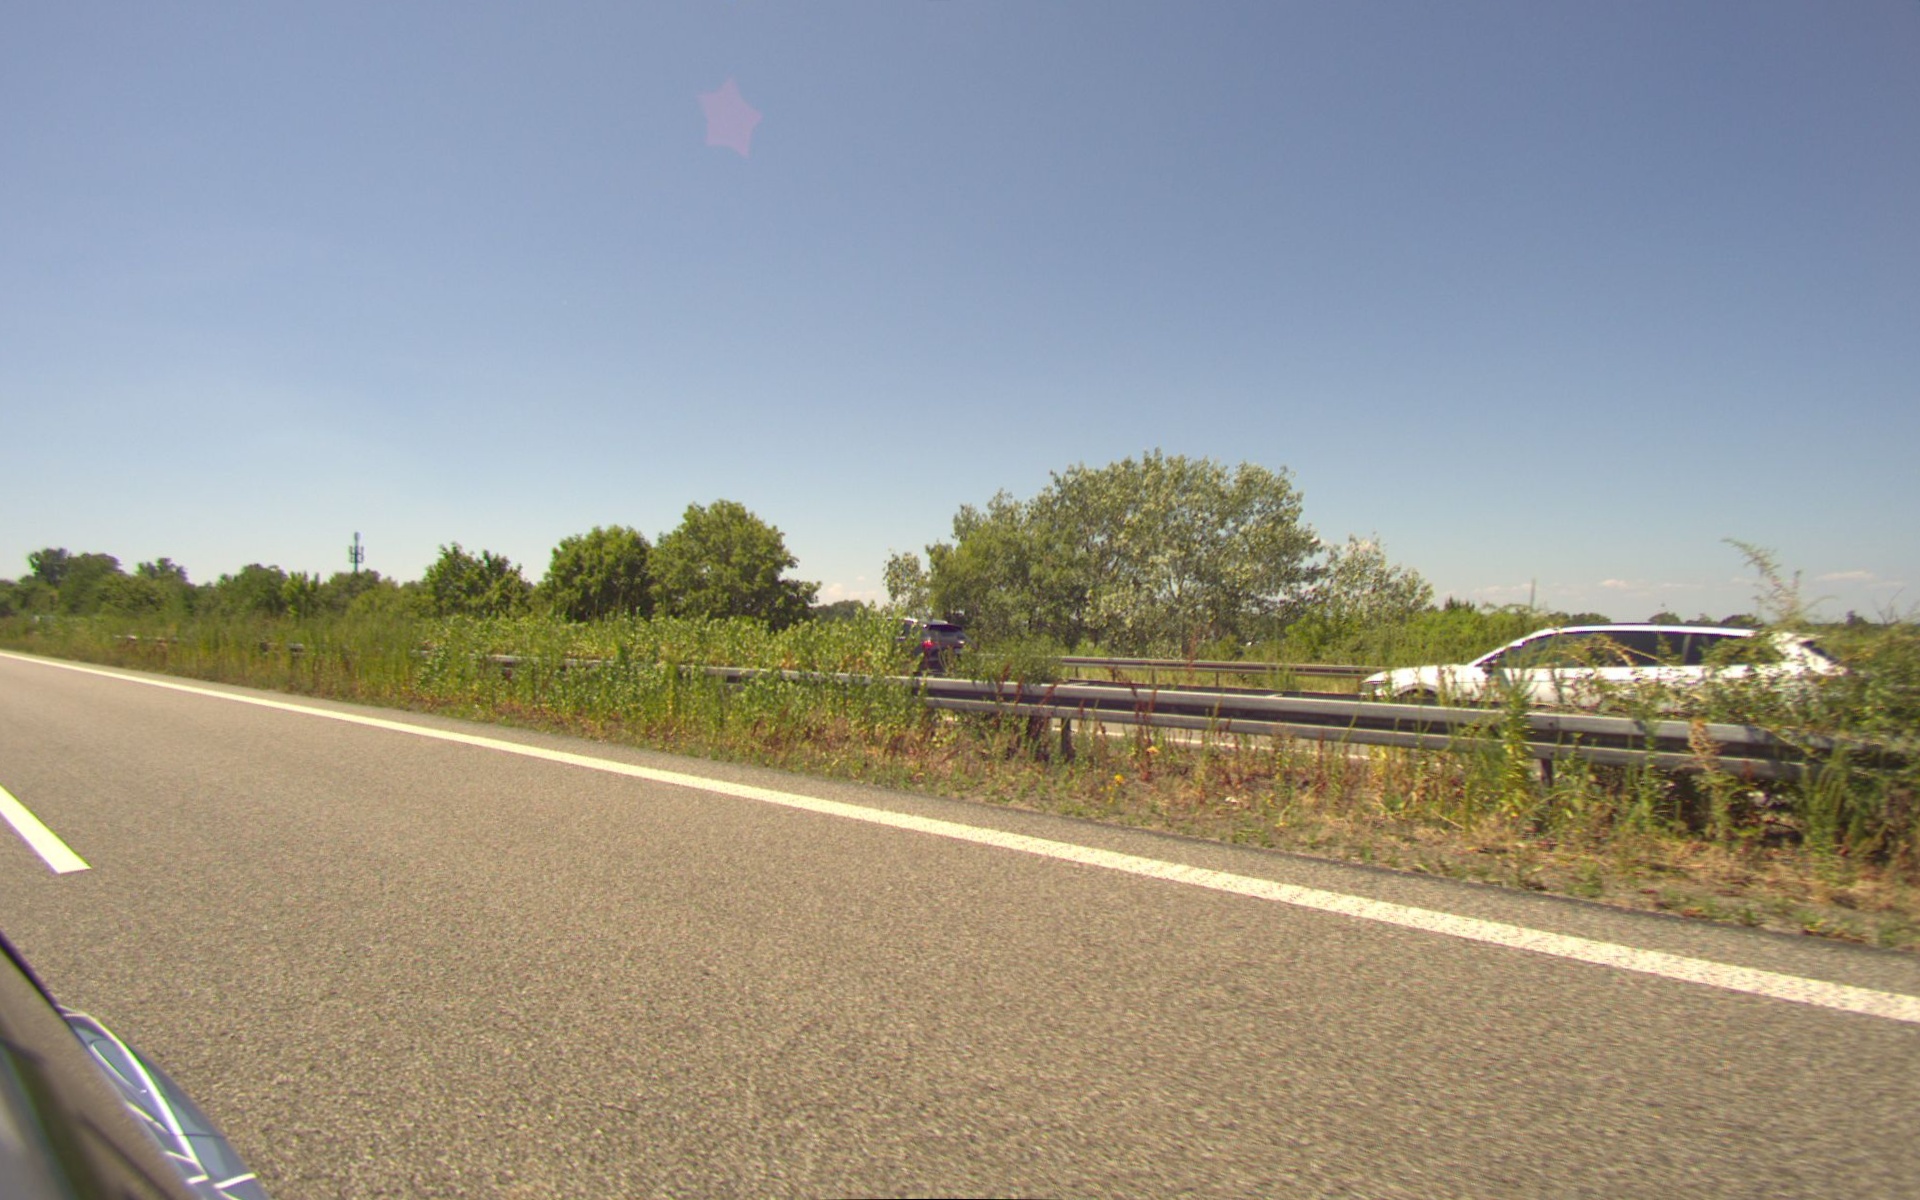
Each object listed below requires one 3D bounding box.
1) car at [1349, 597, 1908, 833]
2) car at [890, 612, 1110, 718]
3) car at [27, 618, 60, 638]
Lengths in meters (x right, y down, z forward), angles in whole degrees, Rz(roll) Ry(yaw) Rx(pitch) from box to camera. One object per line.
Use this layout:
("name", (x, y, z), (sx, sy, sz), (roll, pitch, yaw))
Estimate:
("car", (7.021, 1.033, 11.076), (4.753, 2.029, 1.973), (-1, 0, 41))
("car", (0.745, 1.273, 21.361), (4.483, 1.983, 1.892), (-1, 0, 43))
("car", (-97.388, 2.983, 107.511), (5.269, 2.005, 1.973), (-1, 0, 41))
